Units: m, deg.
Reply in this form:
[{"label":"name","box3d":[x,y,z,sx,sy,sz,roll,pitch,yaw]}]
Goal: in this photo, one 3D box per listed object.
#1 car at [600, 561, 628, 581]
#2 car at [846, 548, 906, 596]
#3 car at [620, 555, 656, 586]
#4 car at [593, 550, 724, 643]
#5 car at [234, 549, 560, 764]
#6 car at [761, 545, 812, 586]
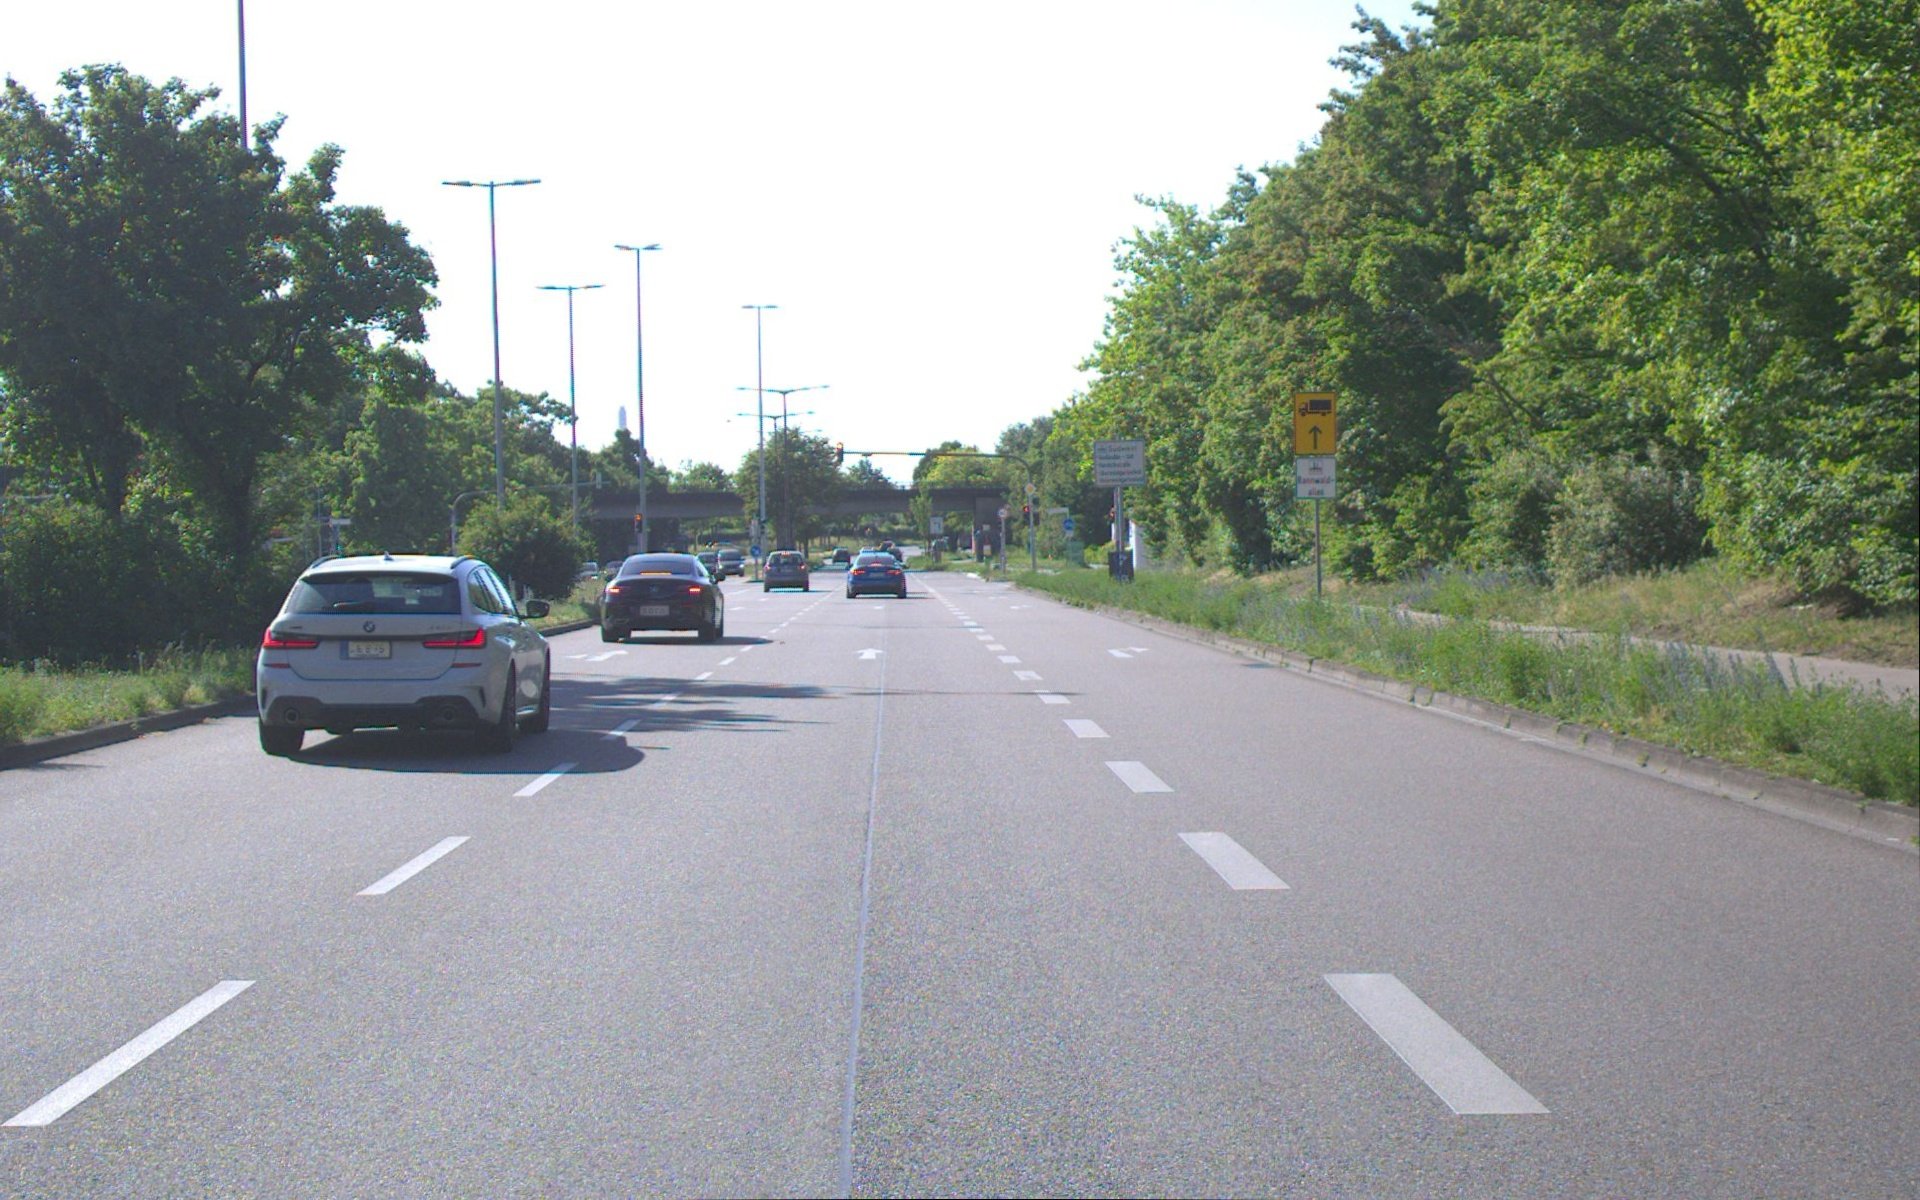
[{"label":"car","box3d":[-25.167,-2.141,250.146,1.703,1.397,3.723,-1,1,-1]},{"label":"car","box3d":[-2.727,-0.937,111.518,1.861,1.494,4.337,-1,1,-1]},{"label":"car","box3d":[-16.268,-1.500,173.795,1.493,1.503,3.487,-1,1,-1]},{"label":"car","box3d":[-5.001,-0.095,57.512,1.861,1.450,4.548,-1,1,-1]},{"label":"car","box3d":[-4.219,0.364,26.398,1.861,1.450,4.548,1,1,-2]},{"label":"car","box3d":[-6.809,-1.369,135.140,1.861,1.560,4.548,-1,1,-1]}]
